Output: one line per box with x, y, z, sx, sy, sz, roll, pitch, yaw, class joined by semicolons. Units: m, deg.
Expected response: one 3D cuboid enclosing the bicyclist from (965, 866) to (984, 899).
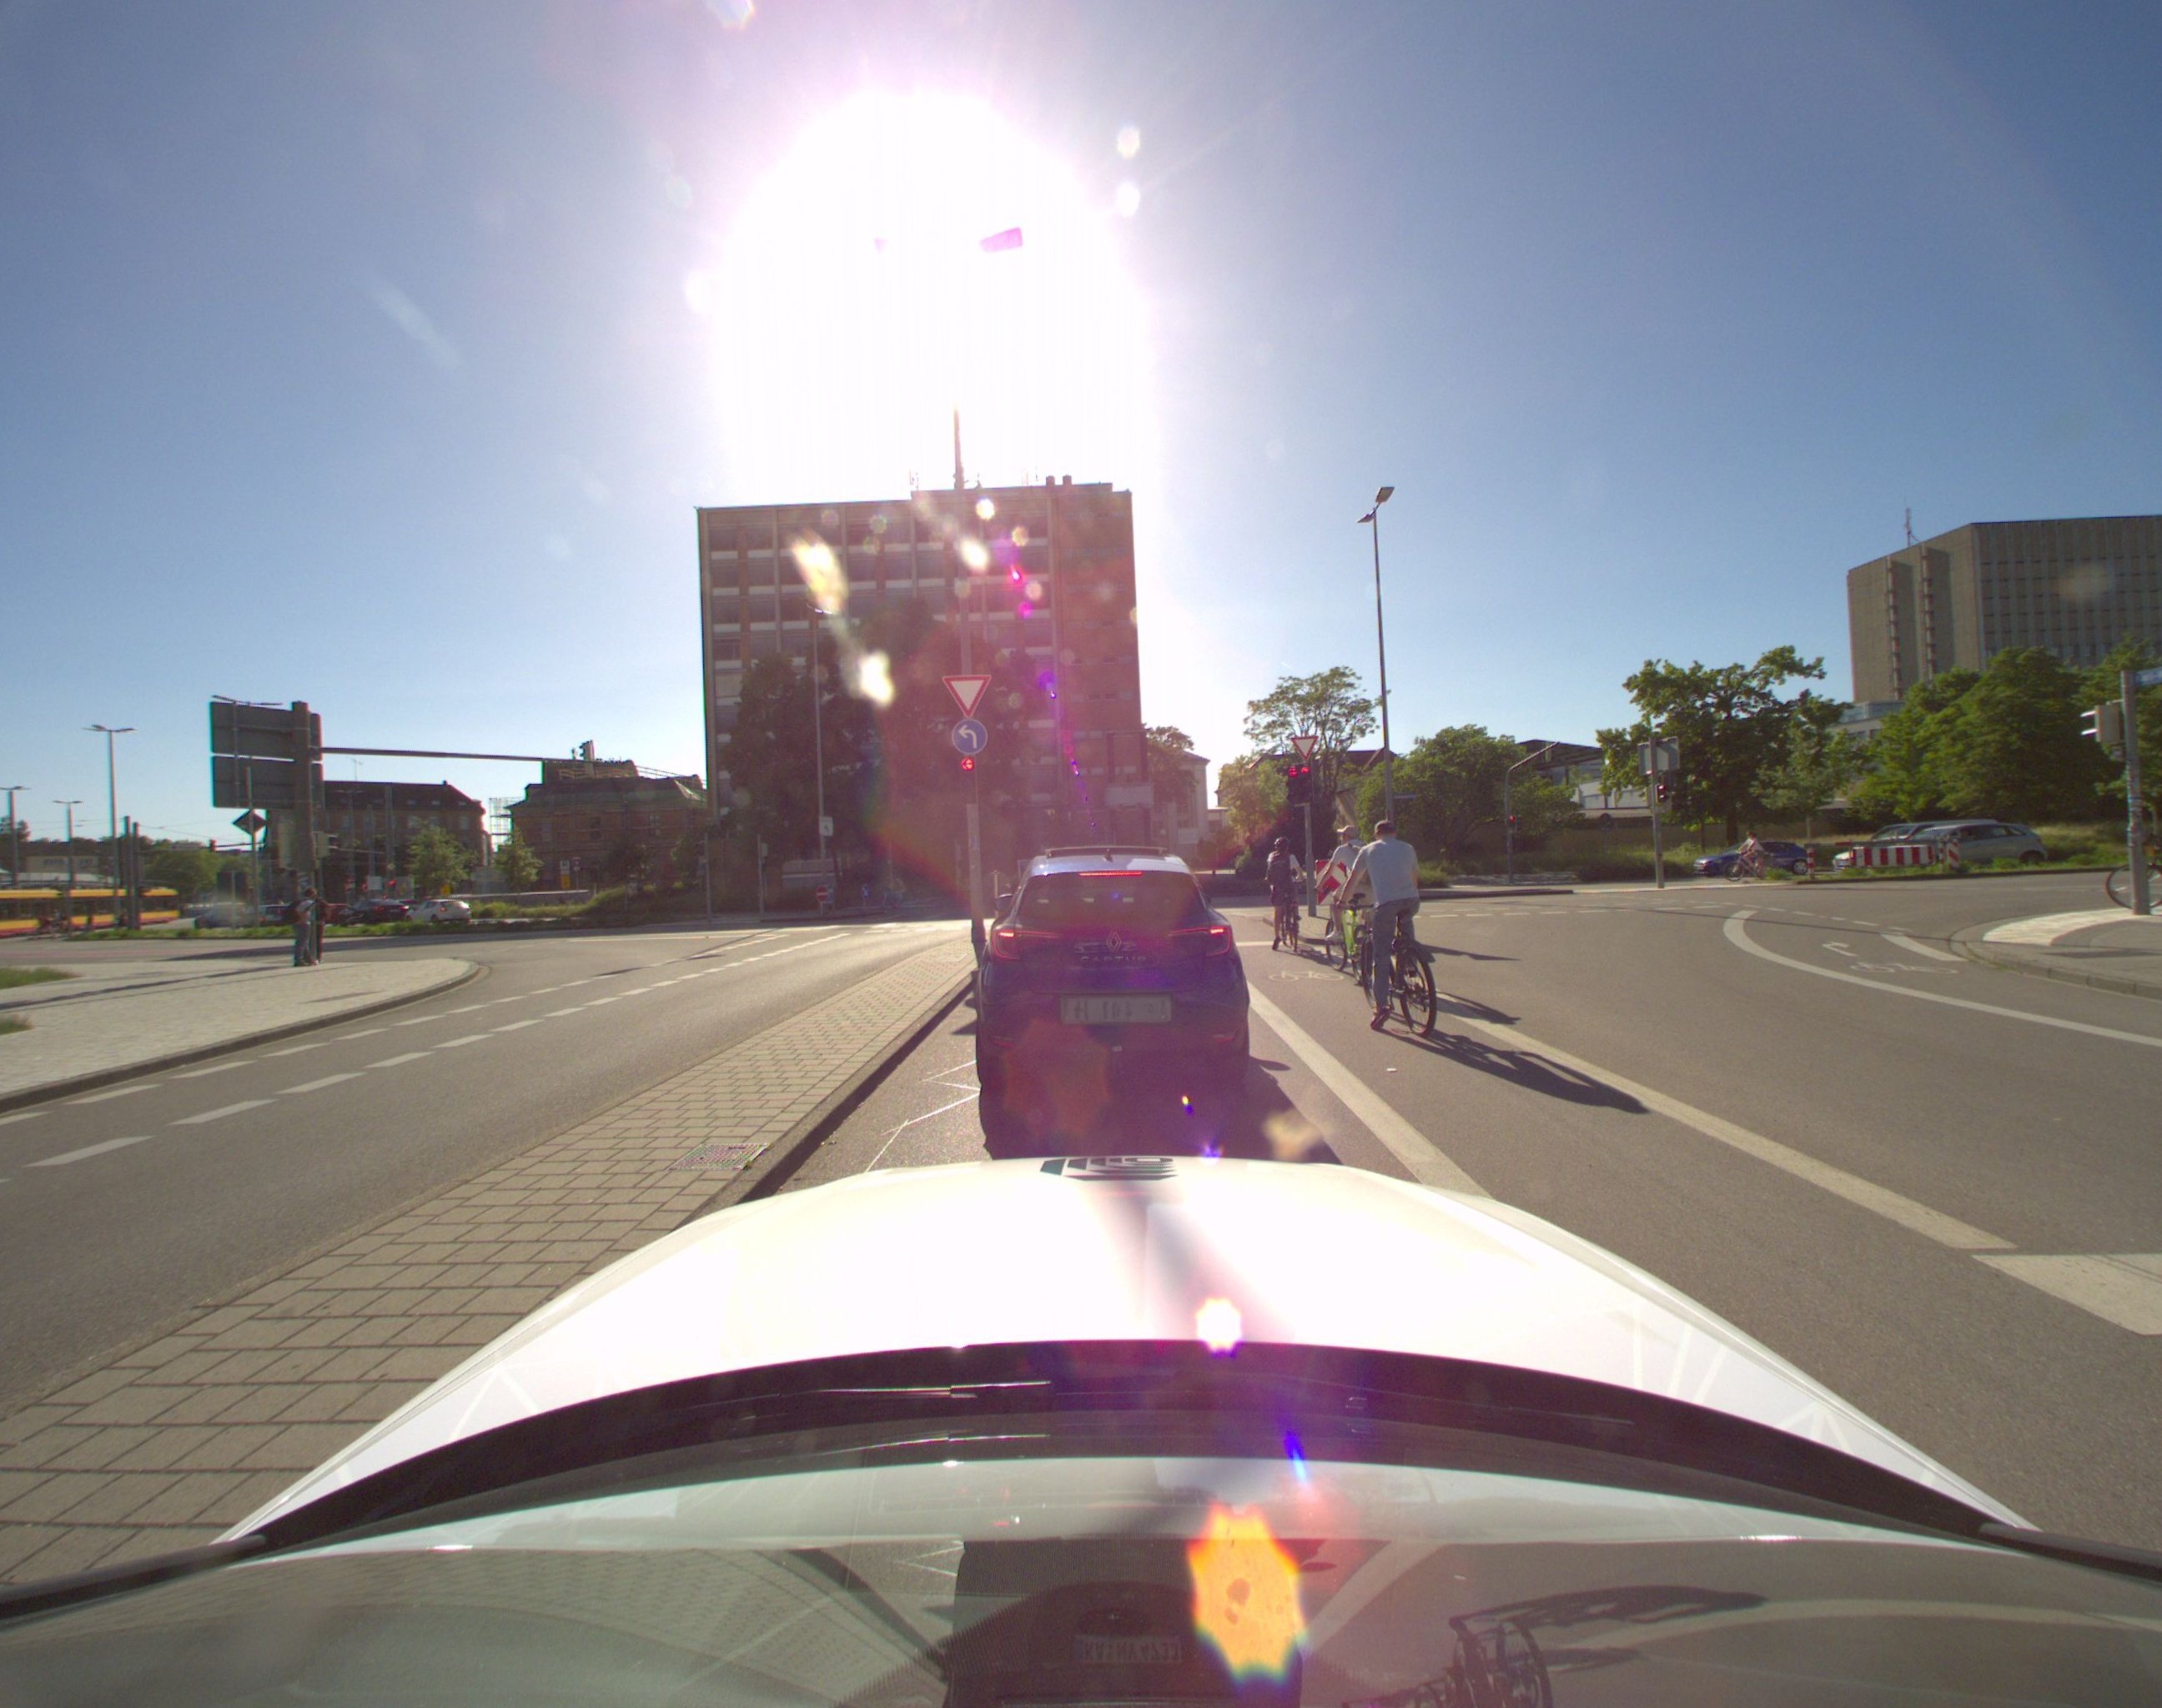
-5.760;1.541;44.072;0.751;1.716;1.001;-2;-1;7;bicyclist

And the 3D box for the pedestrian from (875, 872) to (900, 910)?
-9.842;1.873;41.447;0.807;1.862;0.913;-3;-1;15;pedestrian

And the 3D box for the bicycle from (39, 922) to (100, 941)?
-65.451;5.004;52.696;0.800;1.062;2.434;-1;-1;36;bicycle

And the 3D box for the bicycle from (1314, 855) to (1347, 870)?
20.461;0.668;66.789;2.412;1.140;0.700;-3;-1;22;bicycle

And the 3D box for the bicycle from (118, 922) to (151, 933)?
-63.938;4.959;55.038;0.429;0.549;1.419;-3;-1;42;bicycle

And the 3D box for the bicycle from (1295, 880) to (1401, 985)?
3.187;0.891;9.906;0.687;1.089;1.923;-1;0;2;bicycle

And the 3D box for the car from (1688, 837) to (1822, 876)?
28.138;0.107;34.106;3.965;1.398;1.798;-3;-1;7;car

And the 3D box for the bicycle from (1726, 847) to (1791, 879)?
24.143;0.323;29.035;1.673;1.033;0.612;-2;-1;7;bicycle

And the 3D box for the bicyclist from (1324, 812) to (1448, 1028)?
2.715;0.556;7.378;0.680;1.791;1.142;-1;-1;2;bicyclist

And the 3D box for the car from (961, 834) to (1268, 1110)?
0.200;0.705;6.767;1.783;1.585;3.913;-1;0;0;car

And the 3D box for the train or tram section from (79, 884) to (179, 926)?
-85.382;4.484;73.317;2.710;3.232;10.495;0;-1;-31;train or tram section

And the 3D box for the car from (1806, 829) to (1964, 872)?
30.299;-0.135;30.793;3.965;1.398;1.798;-3;-1;7;car

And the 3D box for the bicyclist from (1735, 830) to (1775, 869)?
24.039;-0.159;29.051;0.870;1.343;0.612;-2;-1;7;bicyclist

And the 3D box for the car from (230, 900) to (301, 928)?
-48.860;3.606;48.806;3.834;1.508;1.805;-3;-1;25;car

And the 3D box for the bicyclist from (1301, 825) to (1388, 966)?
3.174;0.478;9.914;0.676;1.594;1.142;-1;-1;1;bicyclist

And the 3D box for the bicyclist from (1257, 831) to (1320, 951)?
3.259;0.560;12.873;0.697;1.791;1.142;-1;-1;2;bicyclist

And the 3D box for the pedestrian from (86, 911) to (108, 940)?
-62.704;4.521;51.885;0.696;1.762;0.782;-3;-1;34;pedestrian

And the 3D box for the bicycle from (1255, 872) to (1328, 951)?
3.267;0.857;12.810;0.687;1.089;1.923;-1;0;2;bicycle

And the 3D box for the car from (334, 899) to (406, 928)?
-42.547;3.565;48.742;3.834;1.508;1.805;-3;-1;25;car

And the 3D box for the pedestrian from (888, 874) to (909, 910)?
-9.127;1.896;40.768;0.675;1.730;0.764;-3;-1;15;pedestrian

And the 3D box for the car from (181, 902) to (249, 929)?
-54.910;3.893;51.639;3.834;1.508;1.805;-3;-1;25;car

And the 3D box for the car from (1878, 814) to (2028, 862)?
35.874;-0.617;33.607;3.965;1.749;1.798;-3;-1;7;car

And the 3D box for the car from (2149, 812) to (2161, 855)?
36.904;-0.762;25.330;4.534;1.398;1.798;-3;-1;7;car

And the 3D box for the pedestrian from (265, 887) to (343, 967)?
-17.782;1.644;18.665;0.647;1.730;1.066;-3;-1;15;pedestrian

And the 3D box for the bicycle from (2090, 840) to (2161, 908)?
15.917;0.269;11.626;0.640;0.958;1.866;-2;-1;-39;bicycle

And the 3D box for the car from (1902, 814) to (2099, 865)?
29.224;-0.433;26.001;3.965;1.398;1.798;-3;-1;7;car

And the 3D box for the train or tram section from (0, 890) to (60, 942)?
-74.412;4.257;55.384;2.710;3.232;10.495;0;-1;-31;train or tram section

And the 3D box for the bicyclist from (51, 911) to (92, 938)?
-65.416;4.537;52.776;0.800;1.634;1.586;-1;-1;36;bicyclist

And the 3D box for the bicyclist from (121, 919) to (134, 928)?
-64.178;4.690;54.809;0.425;0.549;0.575;-3;-1;42;bicyclist

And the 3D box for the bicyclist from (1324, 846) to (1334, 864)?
20.360;0.079;66.828;0.709;1.481;0.700;-3;-1;21;bicyclist

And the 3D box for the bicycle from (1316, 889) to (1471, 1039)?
2.722;0.900;7.328;0.687;1.089;1.923;-1;0;2;bicycle

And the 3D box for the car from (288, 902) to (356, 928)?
-48.203;3.871;51.711;3.834;1.508;1.805;-3;-1;25;car

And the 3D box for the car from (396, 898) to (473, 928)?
-36.391;3.337;45.837;3.834;1.508;1.805;-3;-1;25;car

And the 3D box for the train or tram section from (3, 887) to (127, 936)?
-79.900;4.371;64.365;2.710;3.232;10.495;0;-1;-31;train or tram section

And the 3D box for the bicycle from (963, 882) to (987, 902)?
-5.724;2.045;44.172;0.751;0.985;2.098;-2;0;8;bicycle
